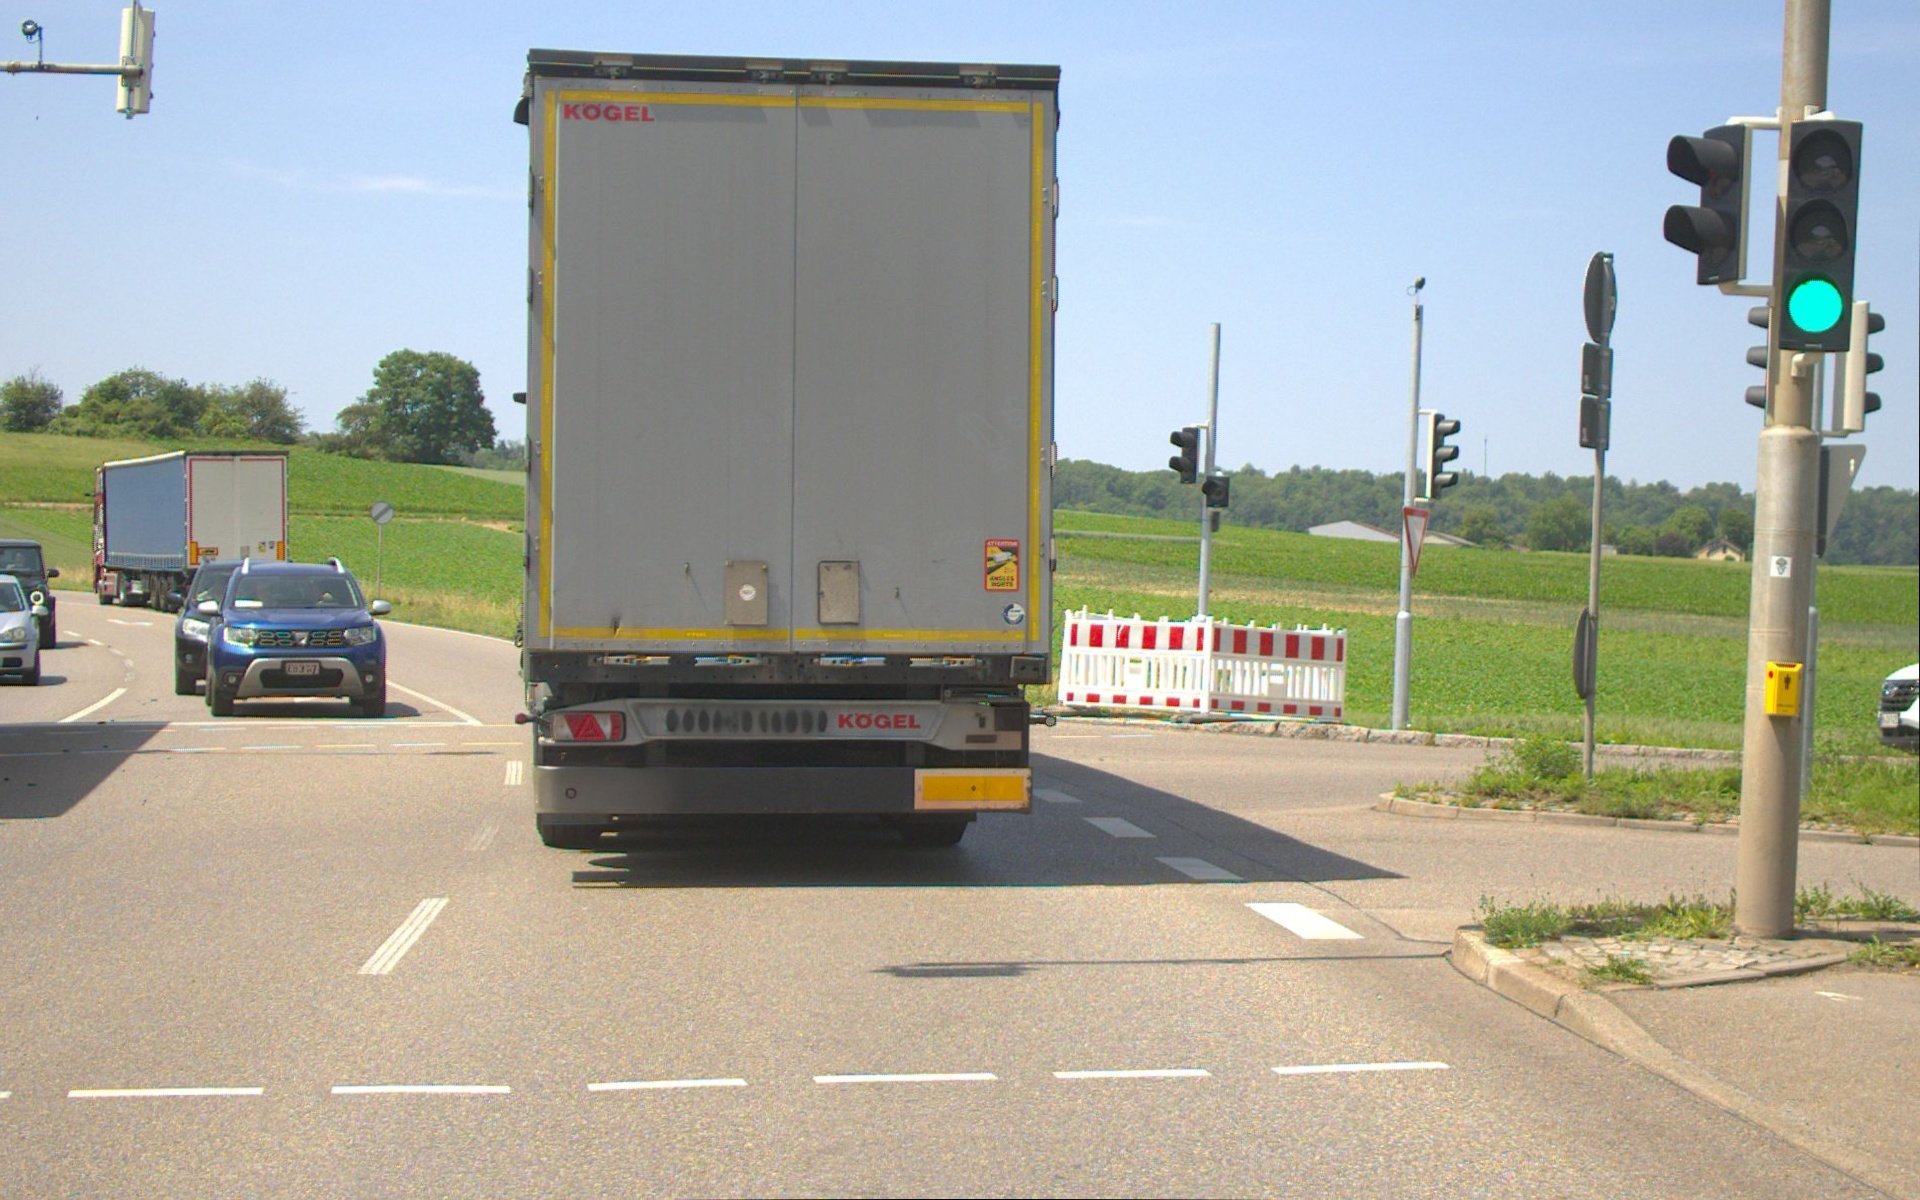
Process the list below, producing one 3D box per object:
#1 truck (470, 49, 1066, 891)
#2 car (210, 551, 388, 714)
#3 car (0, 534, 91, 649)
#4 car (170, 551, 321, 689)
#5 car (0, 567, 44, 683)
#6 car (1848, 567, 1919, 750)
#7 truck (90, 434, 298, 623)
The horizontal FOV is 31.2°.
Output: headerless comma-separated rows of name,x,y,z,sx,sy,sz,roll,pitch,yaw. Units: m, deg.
truck,-1.425,-0.648,20.997,2.807,3.933,9.592,0,0,-6
car,-7.146,0.324,37.072,1.770,1.653,4.001,0,0,-12
car,-17.218,-0.166,63.023,1.993,1.999,5.166,1,0,-20
car,-8.959,0.237,43.340,1.770,1.653,4.001,0,0,-10
car,-13.262,0.322,46.211,1.770,1.490,4.001,0,0,-16
car,10.649,0.615,31.124,4.625,1.602,1.999,2,-1,-3
truck,-20.677,-1.820,91.834,2.960,4.568,16.320,1,0,-21
